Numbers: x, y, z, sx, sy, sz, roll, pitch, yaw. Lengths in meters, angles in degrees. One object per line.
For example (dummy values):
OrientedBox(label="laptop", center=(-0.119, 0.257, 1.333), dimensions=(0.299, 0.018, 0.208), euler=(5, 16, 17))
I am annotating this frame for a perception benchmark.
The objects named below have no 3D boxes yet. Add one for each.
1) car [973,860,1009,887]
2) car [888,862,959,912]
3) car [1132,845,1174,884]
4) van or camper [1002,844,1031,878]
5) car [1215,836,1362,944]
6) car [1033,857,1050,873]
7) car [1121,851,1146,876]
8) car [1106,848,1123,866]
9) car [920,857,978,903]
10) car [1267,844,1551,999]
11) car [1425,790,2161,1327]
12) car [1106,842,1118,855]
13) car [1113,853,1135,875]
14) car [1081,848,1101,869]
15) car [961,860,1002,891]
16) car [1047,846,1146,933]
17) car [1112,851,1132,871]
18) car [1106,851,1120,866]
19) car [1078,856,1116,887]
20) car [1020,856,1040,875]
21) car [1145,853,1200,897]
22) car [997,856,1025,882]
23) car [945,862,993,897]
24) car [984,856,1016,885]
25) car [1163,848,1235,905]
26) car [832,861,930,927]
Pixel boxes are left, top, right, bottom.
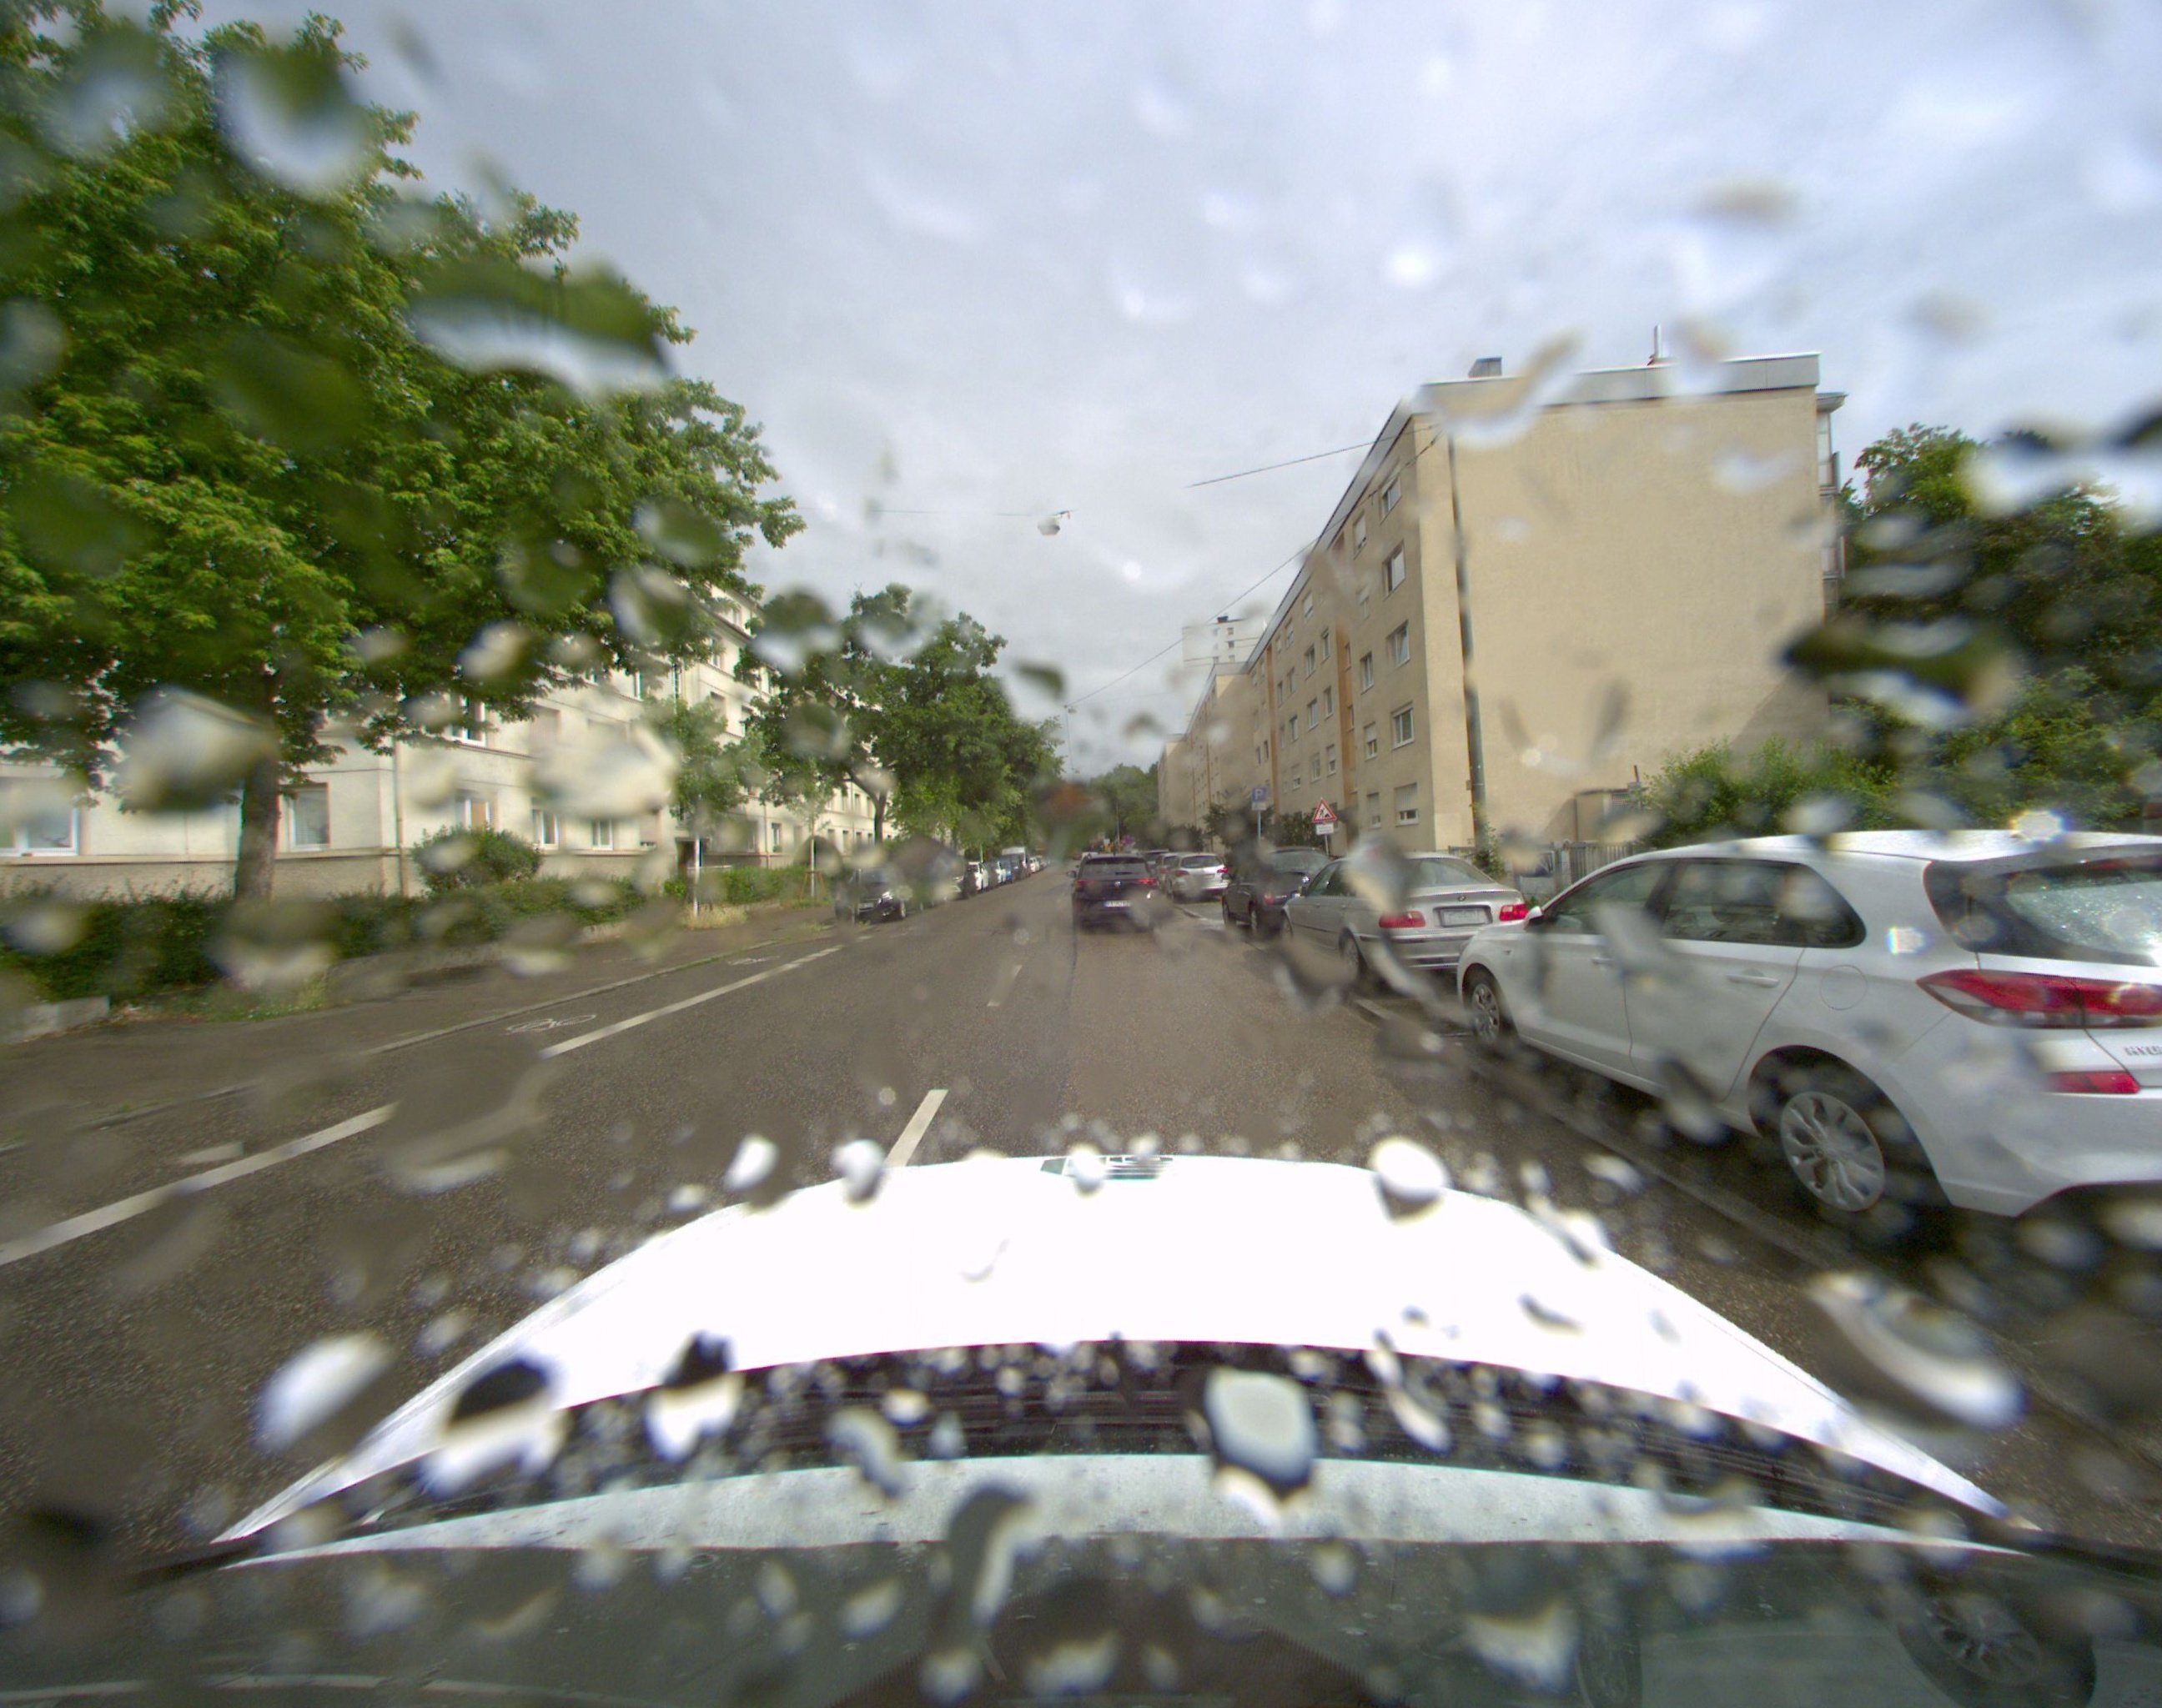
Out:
OrientedBox(label="car", center=(-5.242, 1.120, 47.764), dimensions=(1.581, 1.418, 3.919), euler=(-4, 0, -1))
OrientedBox(label="car", center=(-5.244, 1.066, 27.607), dimensions=(1.581, 1.418, 4.051), euler=(-4, 0, -1))
OrientedBox(label="car", center=(3.438, 0.497, 39.605), dimensions=(1.599, 1.672, 4.032), euler=(-4, 0, 0))
OrientedBox(label="van or camper", center=(-5.052, 0.547, 64.188), dimensions=(1.797, 2.493, 5.019), euler=(-4, 0, -1))
OrientedBox(label="car", center=(3.600, 0.557, 14.868), dimensions=(1.599, 1.661, 4.031), euler=(-1, 0, -1))
OrientedBox(label="car", center=(-4.440, 1.213, 92.150), dimensions=(1.581, 1.639, 3.919), euler=(-4, 0, -1))
OrientedBox(label="car", center=(4.020, 0.702, 63.305), dimensions=(1.599, 1.765, 4.032), euler=(-4, 0, 0))
OrientedBox(label="car", center=(3.575, 0.310, 86.216), dimensions=(1.659, 1.837, 4.002), euler=(-4, 0, 2))
OrientedBox(label="car", center=(-5.137, 0.968, 32.137), dimensions=(1.581, 1.576, 4.013), euler=(-4, 0, -1))
OrientedBox(label="car", center=(3.654, 0.659, 9.990), dimensions=(1.711, 1.452, 4.258), euler=(-1, 0, -1))
OrientedBox(label="car", center=(3.619, 0.592, 4.391), dimensions=(1.743, 1.508, 4.111), euler=(-2, -1, 0))
OrientedBox(label="car", center=(4.736, -0.814, 123.794), dimensions=(1.659, 1.837, 4.002), euler=(-4, 0, 2))
OrientedBox(label="car", center=(3.824, 0.852, 72.797), dimensions=(1.599, 1.765, 4.032), euler=(-4, 0, 0))
OrientedBox(label="car", center=(1.068, 0.506, 84.518), dimensions=(1.829, 2.103, 4.003), euler=(-1, -1, 3))
OrientedBox(label="car", center=(-5.186, 1.072, 42.758), dimensions=(1.581, 1.418, 3.919), euler=(-4, 0, -1))
OrientedBox(label="car", center=(0.432, 0.676, 17.686), dimensions=(1.865, 1.645, 4.066), euler=(-1, 0, 4))
OrientedBox(label="car", center=(3.974, 0.644, 79.380), dimensions=(1.599, 1.765, 4.032), euler=(-4, 0, 0))
OrientedBox(label="car", center=(4.122, 0.572, 105.459), dimensions=(1.659, 1.837, 4.002), euler=(-4, 0, 2))
OrientedBox(label="car", center=(0.878, 0.916, 43.086), dimensions=(1.805, 1.503, 4.004), euler=(-1, -1, 4))
OrientedBox(label="car", center=(-4.835, 1.052, 78.141), dimensions=(1.581, 1.639, 3.919), euler=(-4, 0, -1))
OrientedBox(label="car", center=(3.487, 0.756, 31.673), dimensions=(1.599, 1.505, 4.032), euler=(-4, 0, 0))
OrientedBox(label="car", center=(-4.976, 1.031, 57.947), dimensions=(1.581, 1.639, 3.919), euler=(-4, 0, -1))
OrientedBox(label="car", center=(-5.096, 1.122, 37.467), dimensions=(1.581, 1.418, 3.919), euler=(-4, 0, -1))
OrientedBox(label="car", center=(-5.139, 1.030, 52.178), dimensions=(1.581, 1.639, 3.919), euler=(-4, 0, -1))
OrientedBox(label="car", center=(3.641, 0.652, 25.711), dimensions=(1.689, 1.539, 4.033), euler=(-4, 0, 1))
OrientedBox(label="car", center=(-5.292, 0.998, 22.080), dimensions=(1.581, 1.505, 4.063), euler=(-4, 0, -1))
